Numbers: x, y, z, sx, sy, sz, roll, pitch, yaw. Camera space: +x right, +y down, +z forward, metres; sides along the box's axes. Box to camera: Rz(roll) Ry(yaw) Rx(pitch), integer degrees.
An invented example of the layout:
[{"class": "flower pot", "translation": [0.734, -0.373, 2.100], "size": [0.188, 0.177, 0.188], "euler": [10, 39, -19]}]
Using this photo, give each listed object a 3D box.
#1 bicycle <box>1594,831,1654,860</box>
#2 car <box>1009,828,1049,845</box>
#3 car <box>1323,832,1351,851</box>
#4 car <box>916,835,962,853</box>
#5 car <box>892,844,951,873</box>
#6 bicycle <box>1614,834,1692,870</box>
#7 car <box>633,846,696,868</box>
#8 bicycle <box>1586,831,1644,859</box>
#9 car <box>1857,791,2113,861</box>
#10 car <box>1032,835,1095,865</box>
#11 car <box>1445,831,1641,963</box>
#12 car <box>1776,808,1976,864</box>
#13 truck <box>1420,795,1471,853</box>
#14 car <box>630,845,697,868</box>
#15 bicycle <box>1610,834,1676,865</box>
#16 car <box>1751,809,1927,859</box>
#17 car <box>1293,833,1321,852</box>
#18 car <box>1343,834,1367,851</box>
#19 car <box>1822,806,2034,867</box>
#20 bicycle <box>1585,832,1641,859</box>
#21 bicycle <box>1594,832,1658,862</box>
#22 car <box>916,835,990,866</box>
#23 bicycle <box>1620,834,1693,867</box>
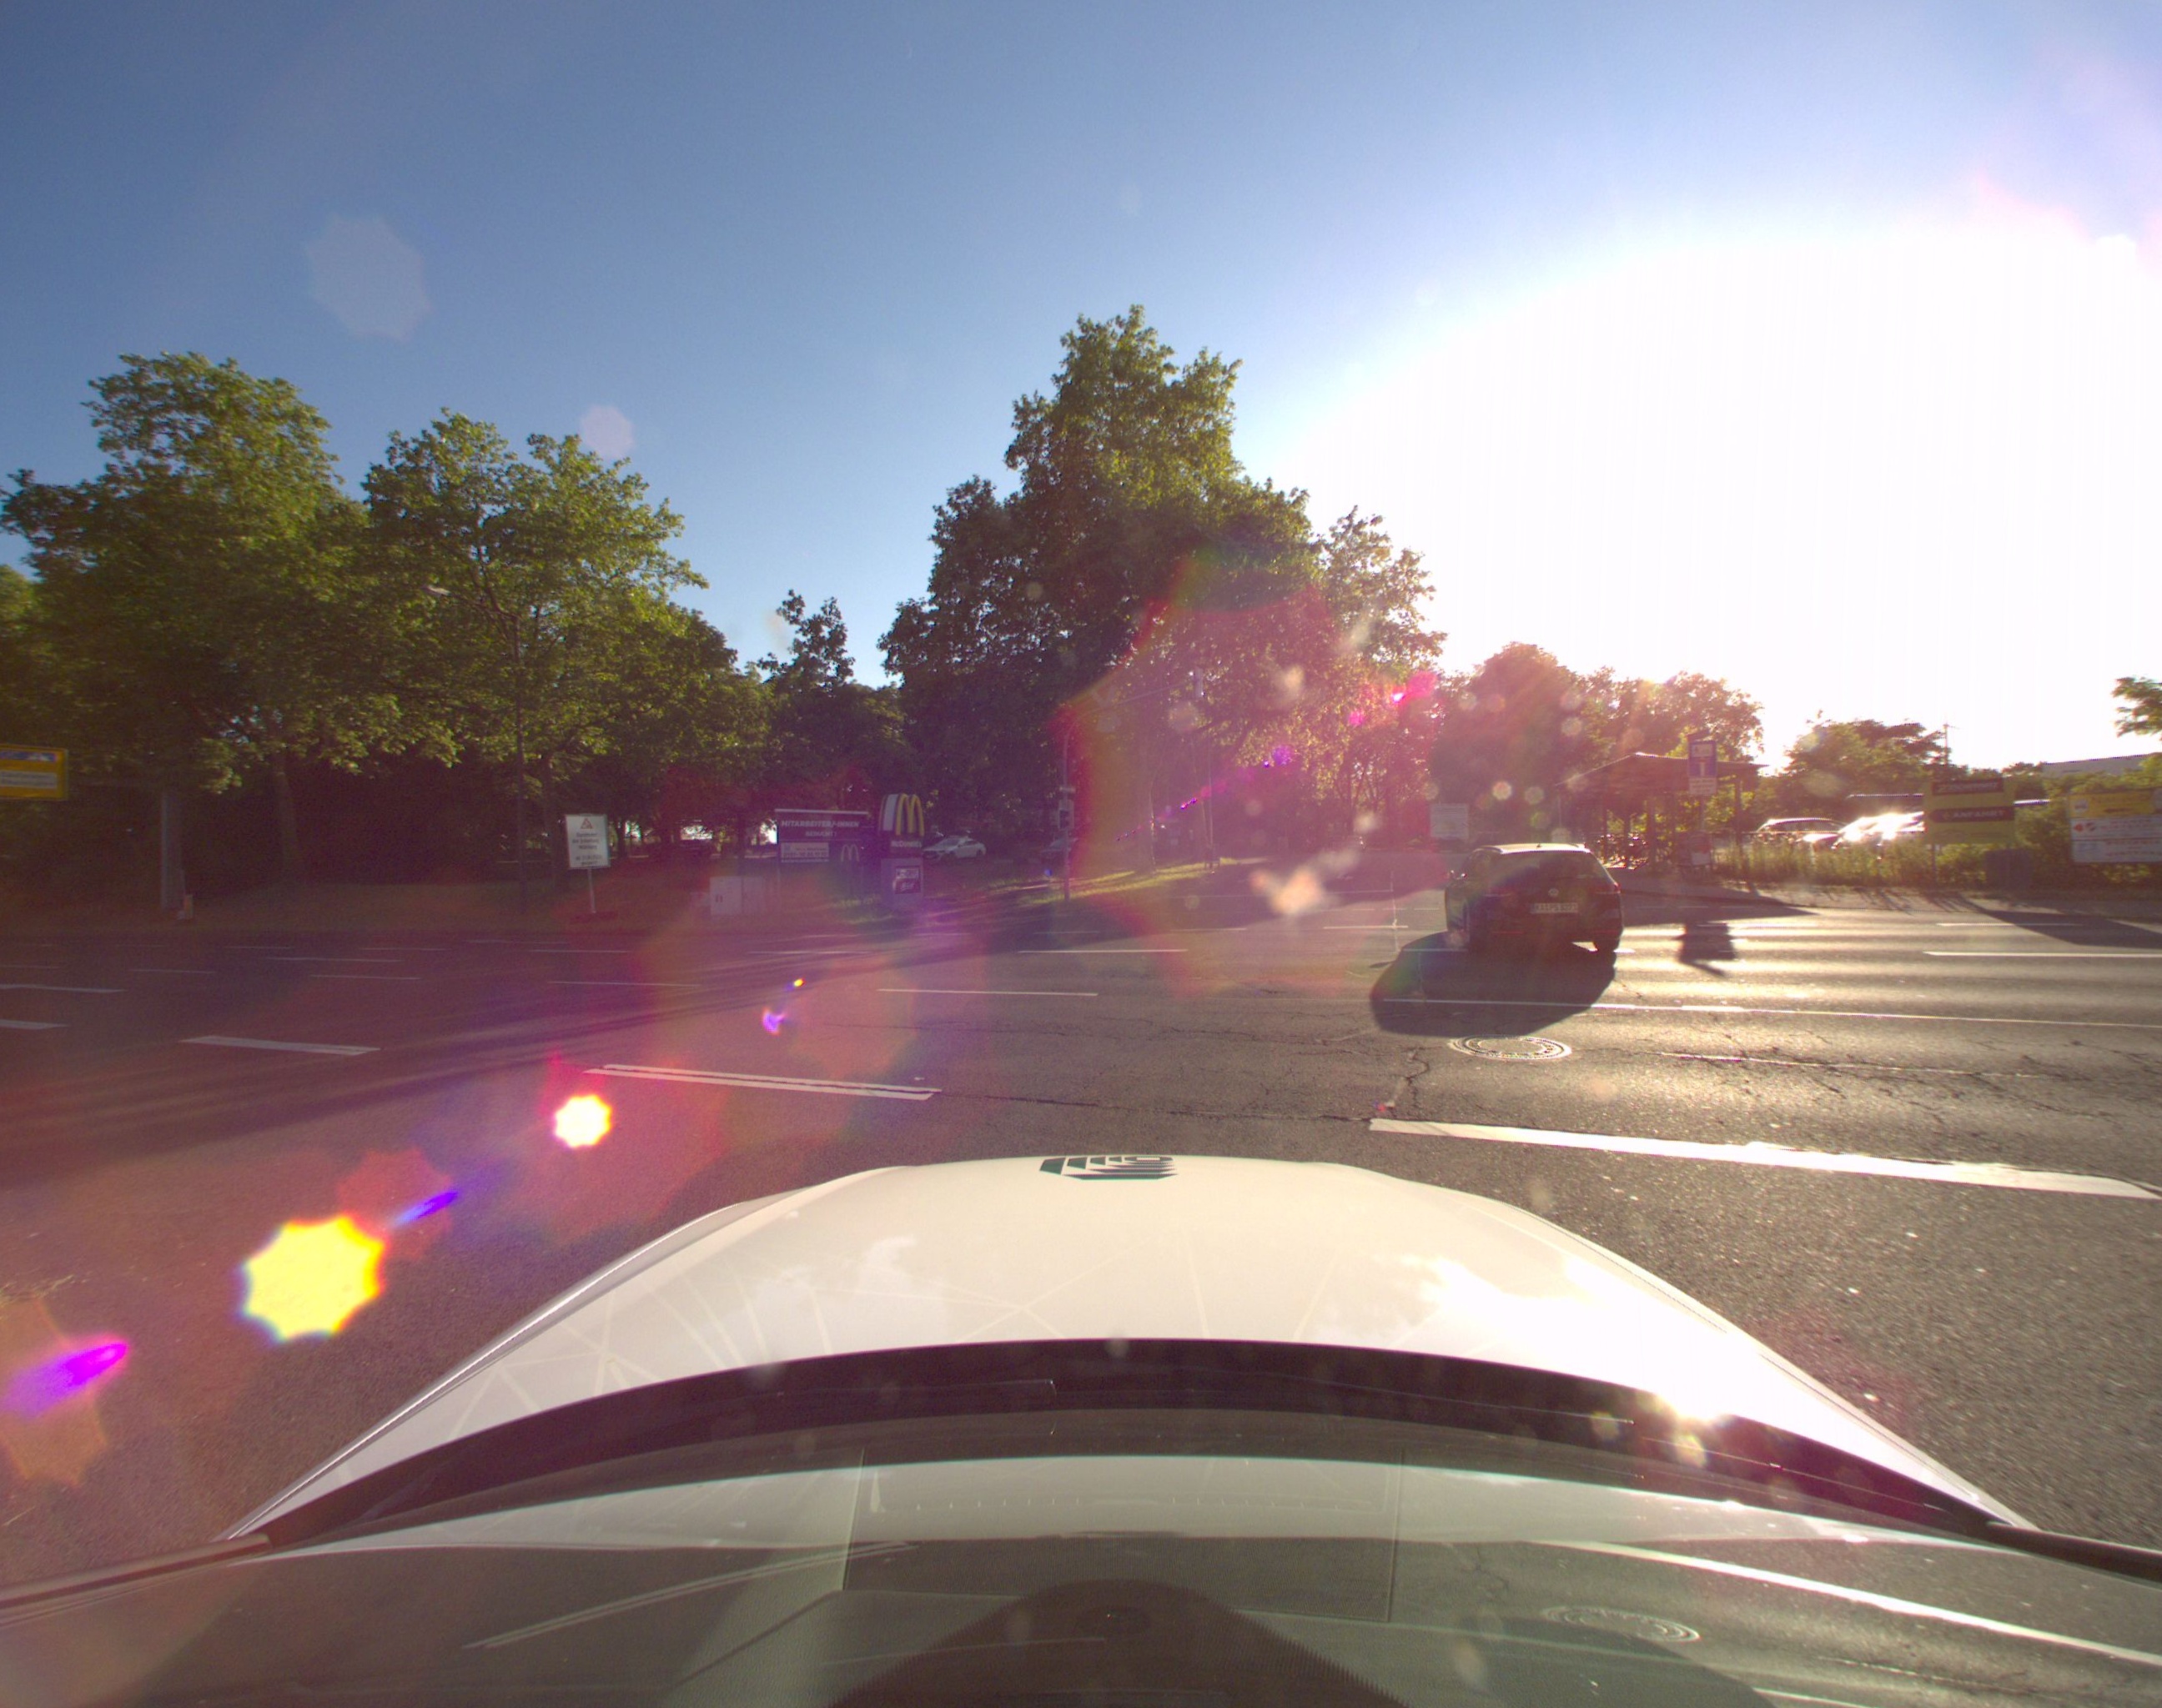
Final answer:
[{"class": "bicycle", "translation": [21.116, -0.338, 31.703], "size": [1.870, 1.038, 0.547], "euler": [-2, 0, 26]}, {"class": "car", "translation": [-5.390, -1.843, 84.950], "size": [3.971, 1.552, 1.809], "euler": [-2, 0, 2]}, {"class": "car", "translation": [21.522, -1.068, 68.300], "size": [1.829, 1.552, 4.022], "euler": [-2, 1, 23]}, {"class": "car", "translation": [-13.792, -0.958, 79.089], "size": [3.969, 1.552, 1.810], "euler": [-2, 0, 3]}, {"class": "car", "translation": [-10.378, 0.277, 53.278], "size": [1.807, 1.687, 4.246], "euler": [-2, 1, 19]}, {"class": "bicycle", "translation": [17.476, -0.051, 24.920], "size": [1.871, 1.038, 0.547], "euler": [-2, 0, 22]}, {"class": "car", "translation": [-32.939, 0.199, 64.430], "size": [1.784, 1.552, 4.026], "euler": [-2, 1, 36]}, {"class": "bicycle", "translation": [21.452, -0.364, 32.740], "size": [1.870, 1.038, 0.547], "euler": [-2, 0, 26]}, {"class": "car", "translation": [24.472, -0.726, 22.286], "size": [4.178, 1.648, 2.131], "euler": [-2, 1, 20]}, {"class": "car", "translation": [-0.933, -0.237, 47.280], "size": [2.019, 1.574, 4.426], "euler": [-2, 1, 22]}, {"class": "car", "translation": [6.455, 0.471, 11.862], "size": [1.809, 1.555, 4.281], "euler": [-2, 1, 21]}, {"class": "car", "translation": [26.384, -0.591, 27.244], "size": [4.270, 1.648, 2.131], "euler": [-2, 1, 20]}, {"class": "truck", "translation": [27.833, -2.239, 62.139], "size": [3.155, 3.875, 11.163], "euler": [-2, 1, 24]}, {"class": "car", "translation": [-30.209, 0.154, 59.048], "size": [1.785, 1.552, 4.024], "euler": [-2, 1, 27]}, {"class": "bicycle", "translation": [20.191, -0.162, 29.287], "size": [1.871, 1.038, 0.547], "euler": [-2, 0, 22]}, {"class": "car", "translation": [27.936, -0.728, 30.219], "size": [4.270, 1.648, 2.131], "euler": [-2, 1, 20]}, {"class": "car", "translation": [19.904, -0.999, 71.702], "size": [1.829, 1.552, 4.022], "euler": [-2, 1, 23]}, {"class": "car", "translation": [26.605, -1.169, 79.029], "size": [1.829, 1.552, 4.022], "euler": [-2, 1, 23]}, {"class": "car", "translation": [25.640, -0.514, 24.865], "size": [3.953, 1.648, 2.131], "euler": [-2, 1, 20]}, {"class": "bicycle", "translation": [22.197, -0.343, 34.020], "size": [1.870, 1.038, 0.547], "euler": [-2, 0, 26]}, {"class": "bicycle", "translation": [20.124, -0.245, 30.092], "size": [1.871, 1.038, 0.547], "euler": [-2, 0, 22]}, {"class": "car", "translation": [-7.808, -0.239, 50.138], "size": [1.975, 1.706, 4.929], "euler": [-2, 1, 27]}, {"class": "bicycle", "translation": [19.151, -0.116, 27.130], "size": [1.871, 1.038, 0.547], "euler": [-2, 0, 22]}]
